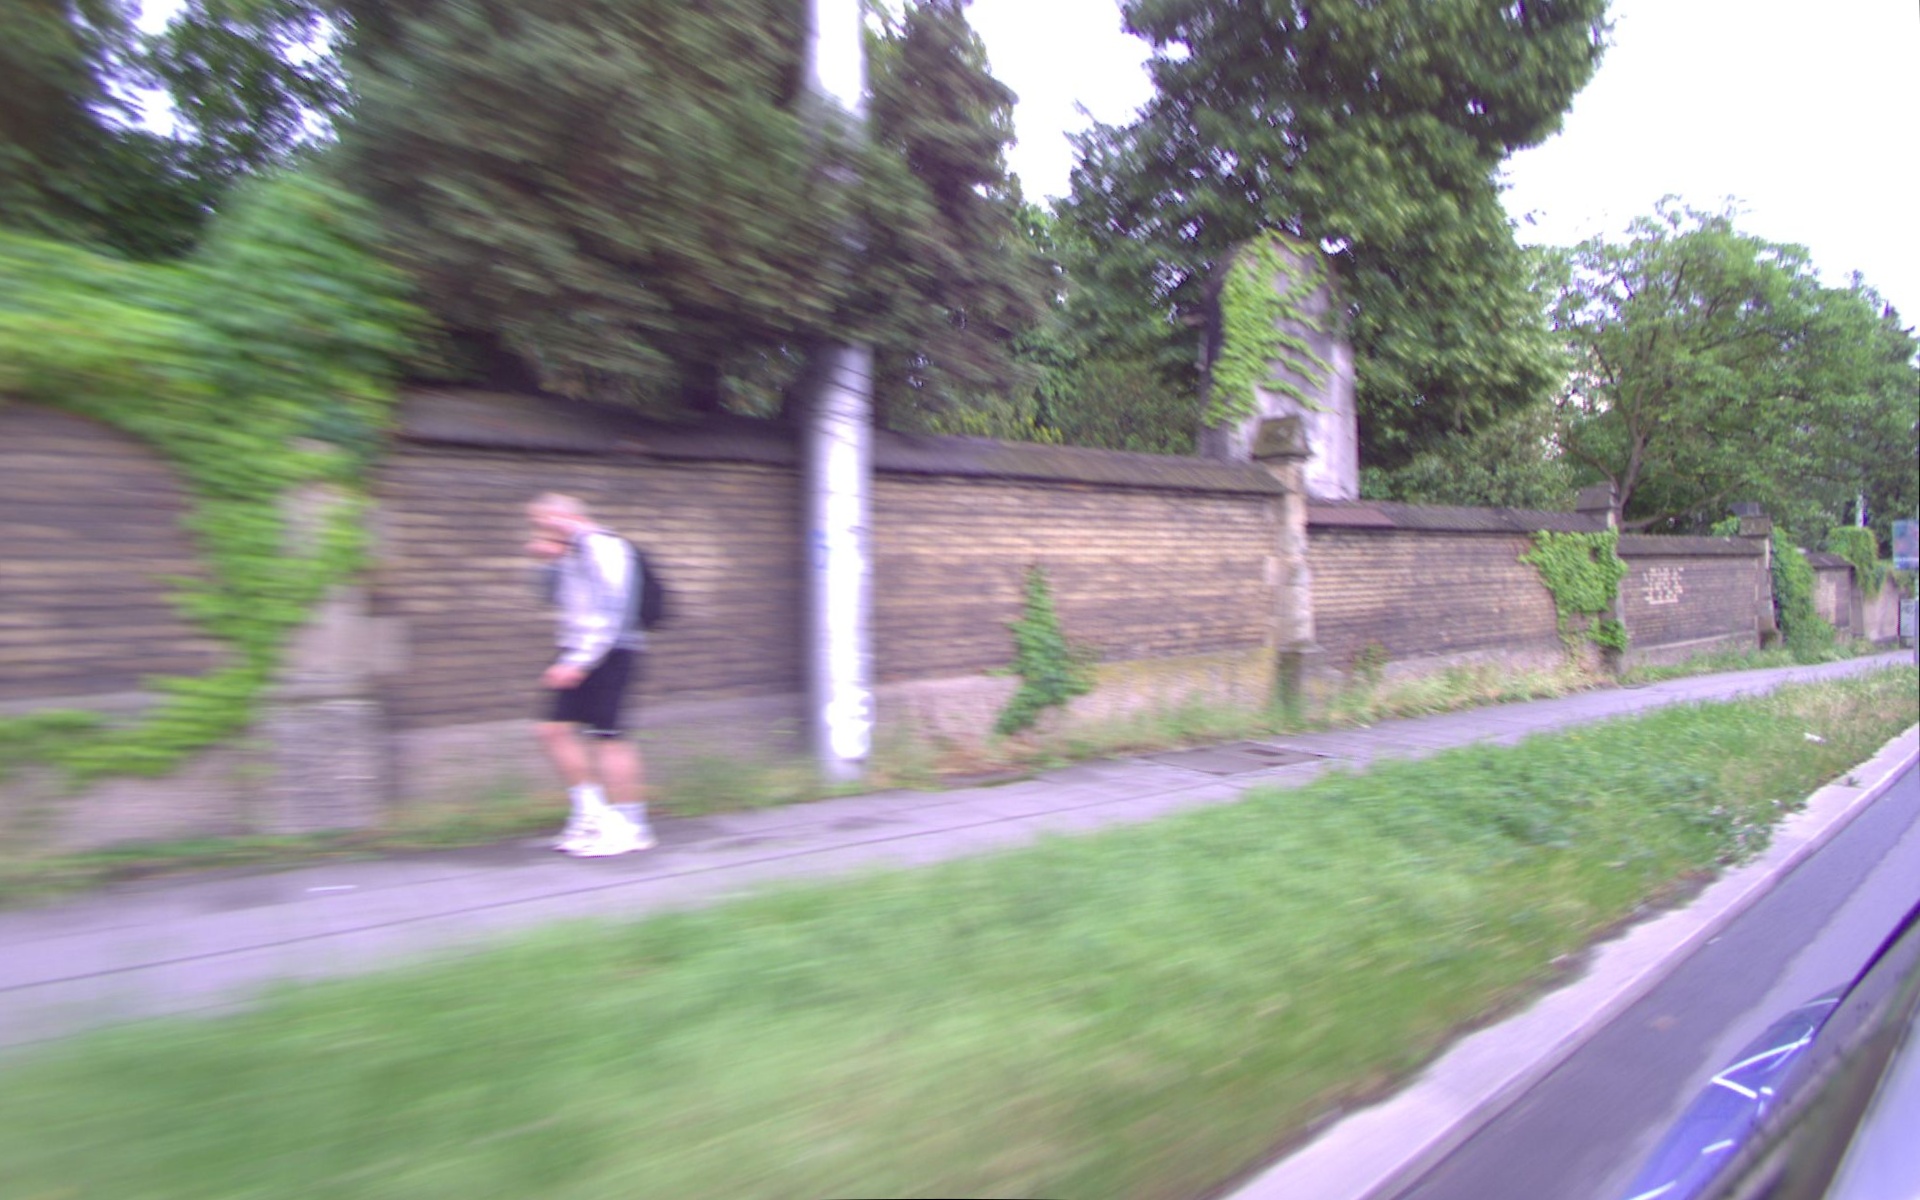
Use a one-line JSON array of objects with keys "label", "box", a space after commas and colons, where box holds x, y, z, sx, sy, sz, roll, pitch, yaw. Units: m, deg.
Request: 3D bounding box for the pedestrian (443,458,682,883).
[{"label": "pedestrian", "box": [-1.907, 0.297, 4.860, 0.885, 1.802, 0.709, 0, 0, -41]}]
